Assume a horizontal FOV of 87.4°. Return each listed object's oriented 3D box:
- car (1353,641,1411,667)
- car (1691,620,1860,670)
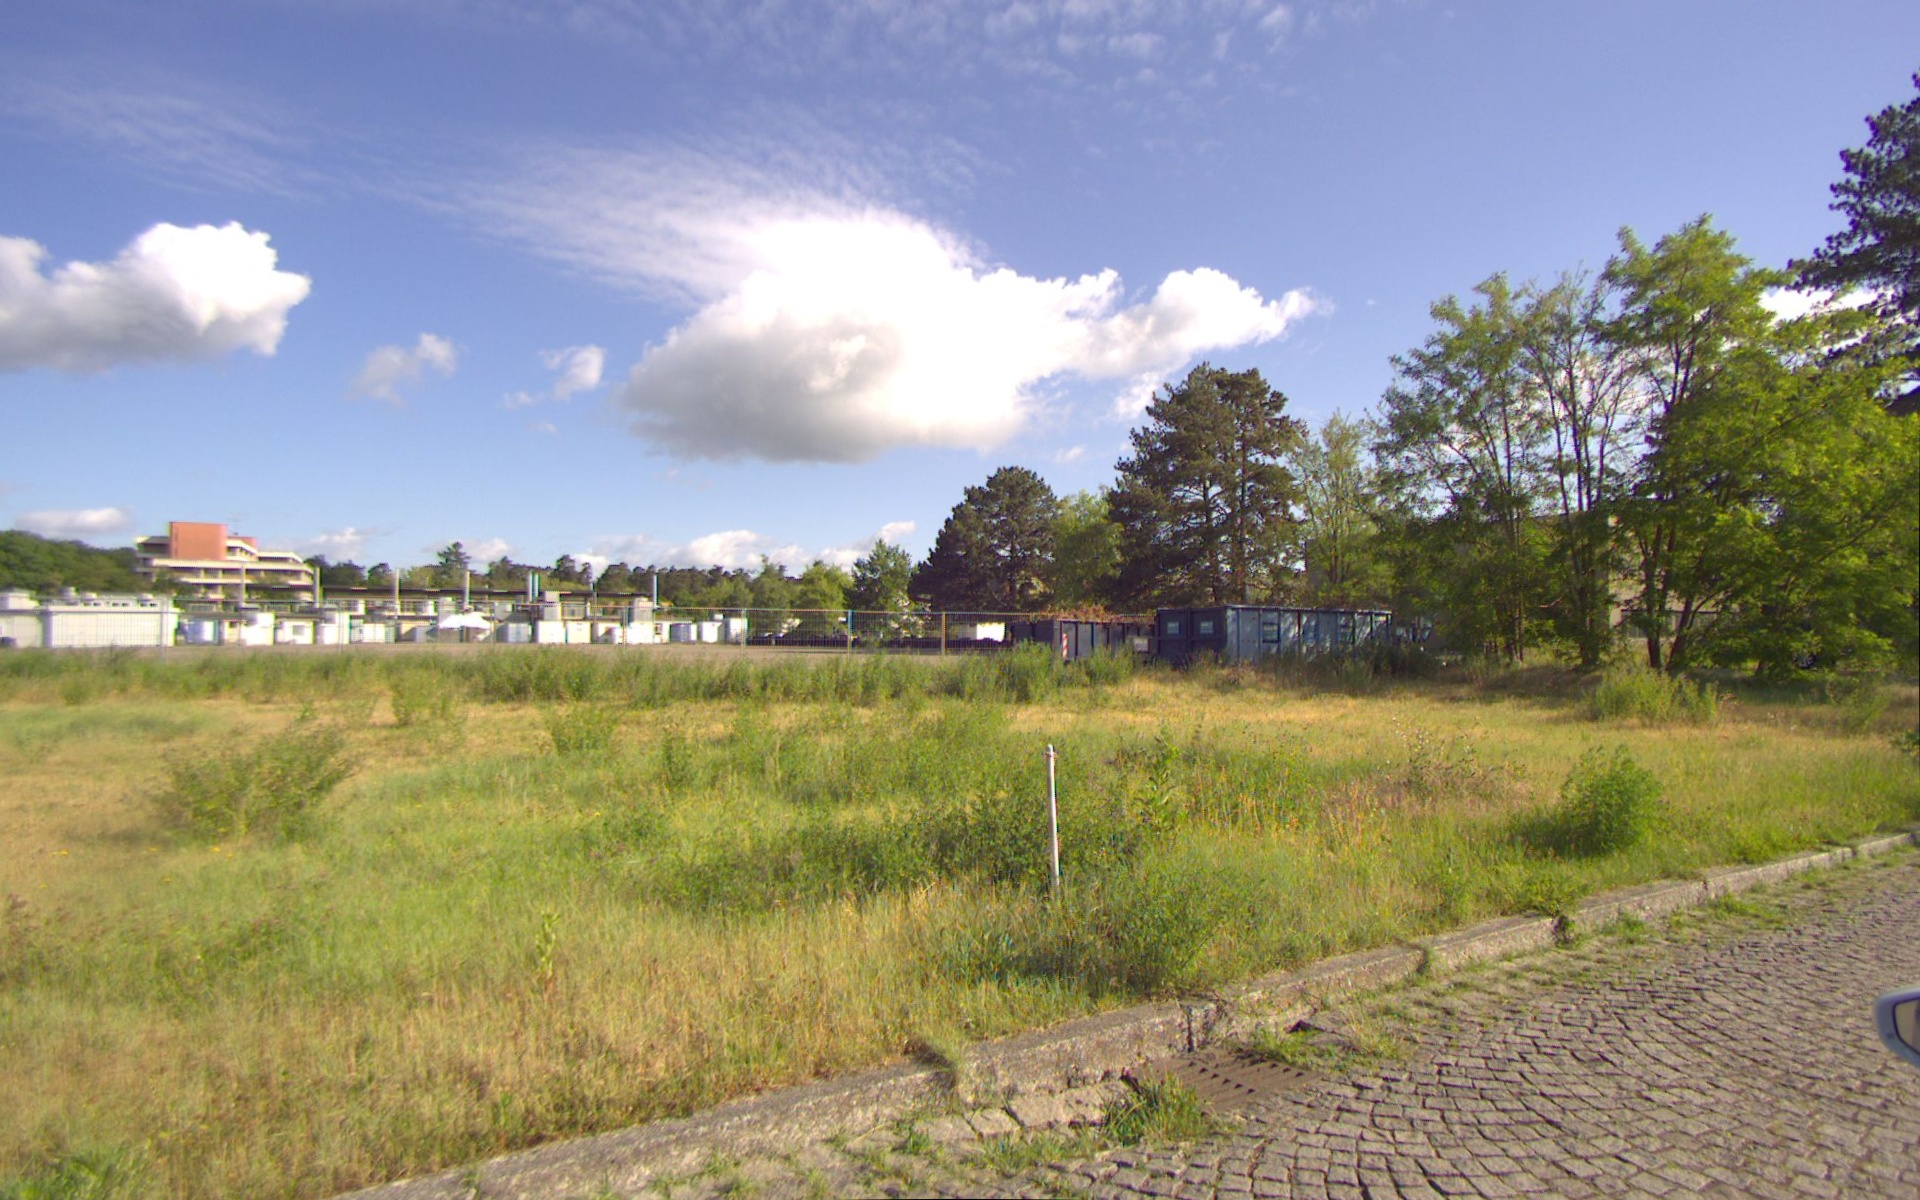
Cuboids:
[{"bbox_3d":[30.688,3.926,73.058,3.951,1.802,1.858,1,-2,-27],"label":"car"},{"bbox_3d":[28.190,1.541,34.863,1.985,1.630,4.128,1,-2,-28],"label":"car"}]
